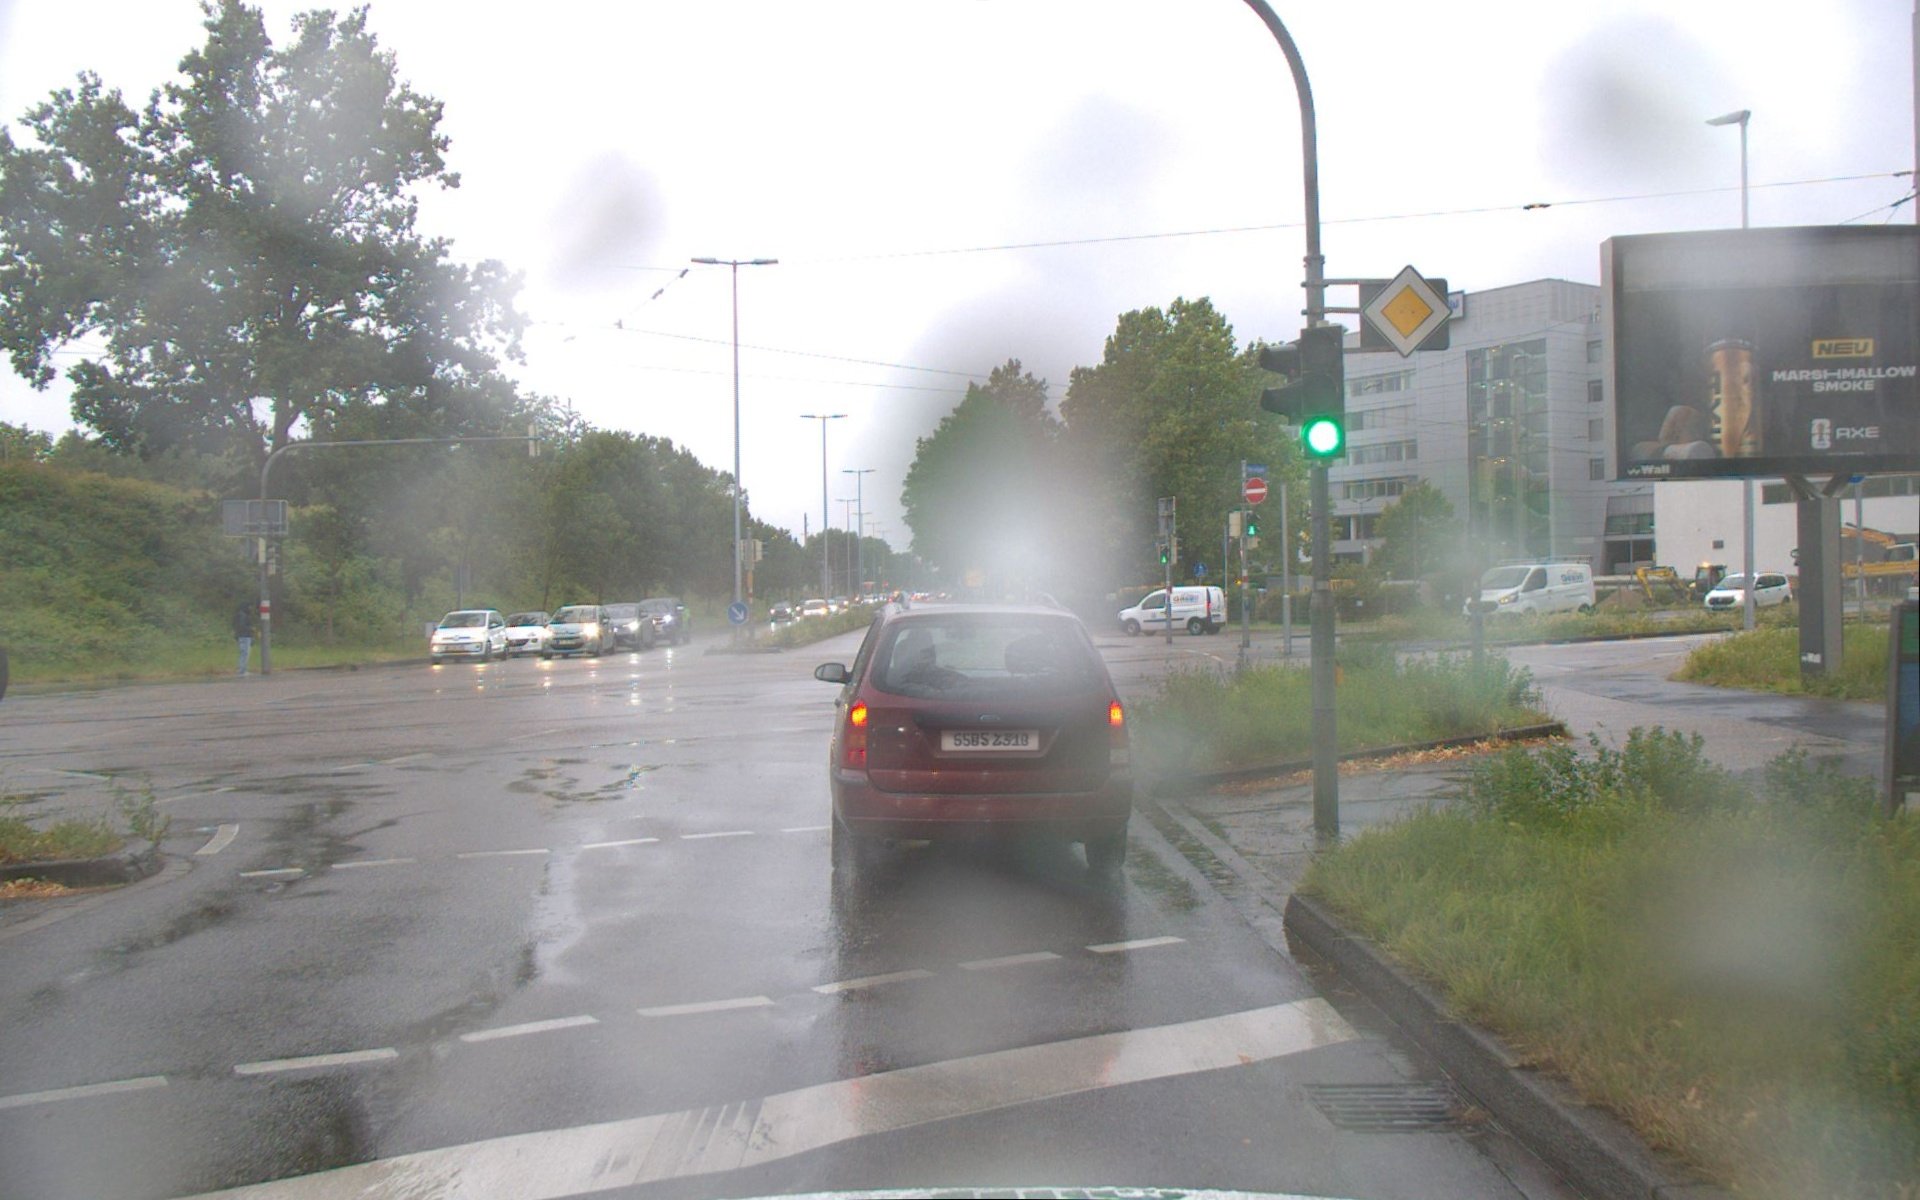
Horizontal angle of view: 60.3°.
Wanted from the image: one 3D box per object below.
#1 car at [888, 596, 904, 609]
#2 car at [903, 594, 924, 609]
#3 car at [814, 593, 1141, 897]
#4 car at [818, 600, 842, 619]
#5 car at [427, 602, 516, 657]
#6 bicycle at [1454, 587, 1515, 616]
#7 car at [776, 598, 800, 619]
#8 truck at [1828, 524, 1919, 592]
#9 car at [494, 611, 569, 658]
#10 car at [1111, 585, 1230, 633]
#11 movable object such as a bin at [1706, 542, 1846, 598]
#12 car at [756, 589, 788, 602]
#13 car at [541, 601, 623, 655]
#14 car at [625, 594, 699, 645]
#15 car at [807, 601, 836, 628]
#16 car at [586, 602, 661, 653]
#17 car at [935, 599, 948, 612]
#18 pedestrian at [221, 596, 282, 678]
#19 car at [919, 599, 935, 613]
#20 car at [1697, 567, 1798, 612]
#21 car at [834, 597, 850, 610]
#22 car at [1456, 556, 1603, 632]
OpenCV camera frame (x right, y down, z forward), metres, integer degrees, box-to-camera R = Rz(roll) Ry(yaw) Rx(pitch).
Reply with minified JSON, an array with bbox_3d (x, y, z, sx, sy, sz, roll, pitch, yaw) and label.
[{"bbox_3d":[-7.569,0.294,196.138,1.663,1.554,3.846,-1,0,1],"label":"car"},{"bbox_3d":[-5.080,0.153,181.183,2.103,1.554,4.193,-1,0,1],"label":"car"},{"bbox_3d":[0.029,0.717,10.085,1.609,1.490,3.731,1,0,-2],"label":"car"},{"bbox_3d":[-12.902,0.923,164.442,1.923,1.732,4.284,-2,0,0],"label":"car"},{"bbox_3d":[-14.239,0.823,48.395,1.605,1.478,3.785,-2,0,-3],"label":"car"},{"bbox_3d":[20.718,0.056,65.353,2.258,1.064,0.849,-2,0,19],"label":"bicycle"},{"bbox_3d":[-14.985,0.752,144.306,1.708,1.732,4.282,1,0,-2],"label":"car"},{"bbox_3d":[52.606,-2.323,91.146,3.292,3.568,7.789,-2,0,-36],"label":"truck"},{"bbox_3d":[-14.157,1.103,54.781,1.558,1.428,3.821,-2,0,-2],"label":"car"},{"bbox_3d":[8.015,0.327,63.033,4.149,1.756,1.739,0,0,29],"label":"car"},{"bbox_3d":[48.135,-1.742,97.741,3.293,3.048,6.634,-2,0,-37],"label":"movable object such as a bin"},{"bbox_3d":[-26.899,-0.656,236.595,4.238,1.625,1.944,-2,0,-37],"label":"car"},{"bbox_3d":[-11.268,0.795,49.543,1.605,1.499,3.963,-2,0,-1],"label":"car"},{"bbox_3d":[-11.591,0.722,64.664,2.024,1.851,5.539,-2,0,-2],"label":"car"},{"bbox_3d":[-9.779,1.017,116.929,1.709,1.732,4.282,-3,0,-2],"label":"car"},{"bbox_3d":[-11.458,0.940,56.649,1.727,1.614,4.810,-2,-1,-3],"label":"car"},{"bbox_3d":[-2.392,0.702,213.217,1.637,1.554,3.846,-1,0,0],"label":"car"},{"bbox_3d":[-16.701,0.867,38.998,1.083,1.879,1.127,-1,0,-13],"label":"pedestrian"},{"bbox_3d":[-3.727,0.658,187.632,1.663,1.554,3.846,-1,0,0],"label":"car"},{"bbox_3d":[30.725,-0.435,64.510,4.336,1.649,1.753,-1,0,-37],"label":"car"},{"bbox_3d":[-15.553,0.466,218.917,1.923,1.625,4.282,-2,0,-2],"label":"car"},{"bbox_3d":[17.083,-0.180,49.509,4.641,2.162,1.973,-1,-1,-38],"label":"car"}]
